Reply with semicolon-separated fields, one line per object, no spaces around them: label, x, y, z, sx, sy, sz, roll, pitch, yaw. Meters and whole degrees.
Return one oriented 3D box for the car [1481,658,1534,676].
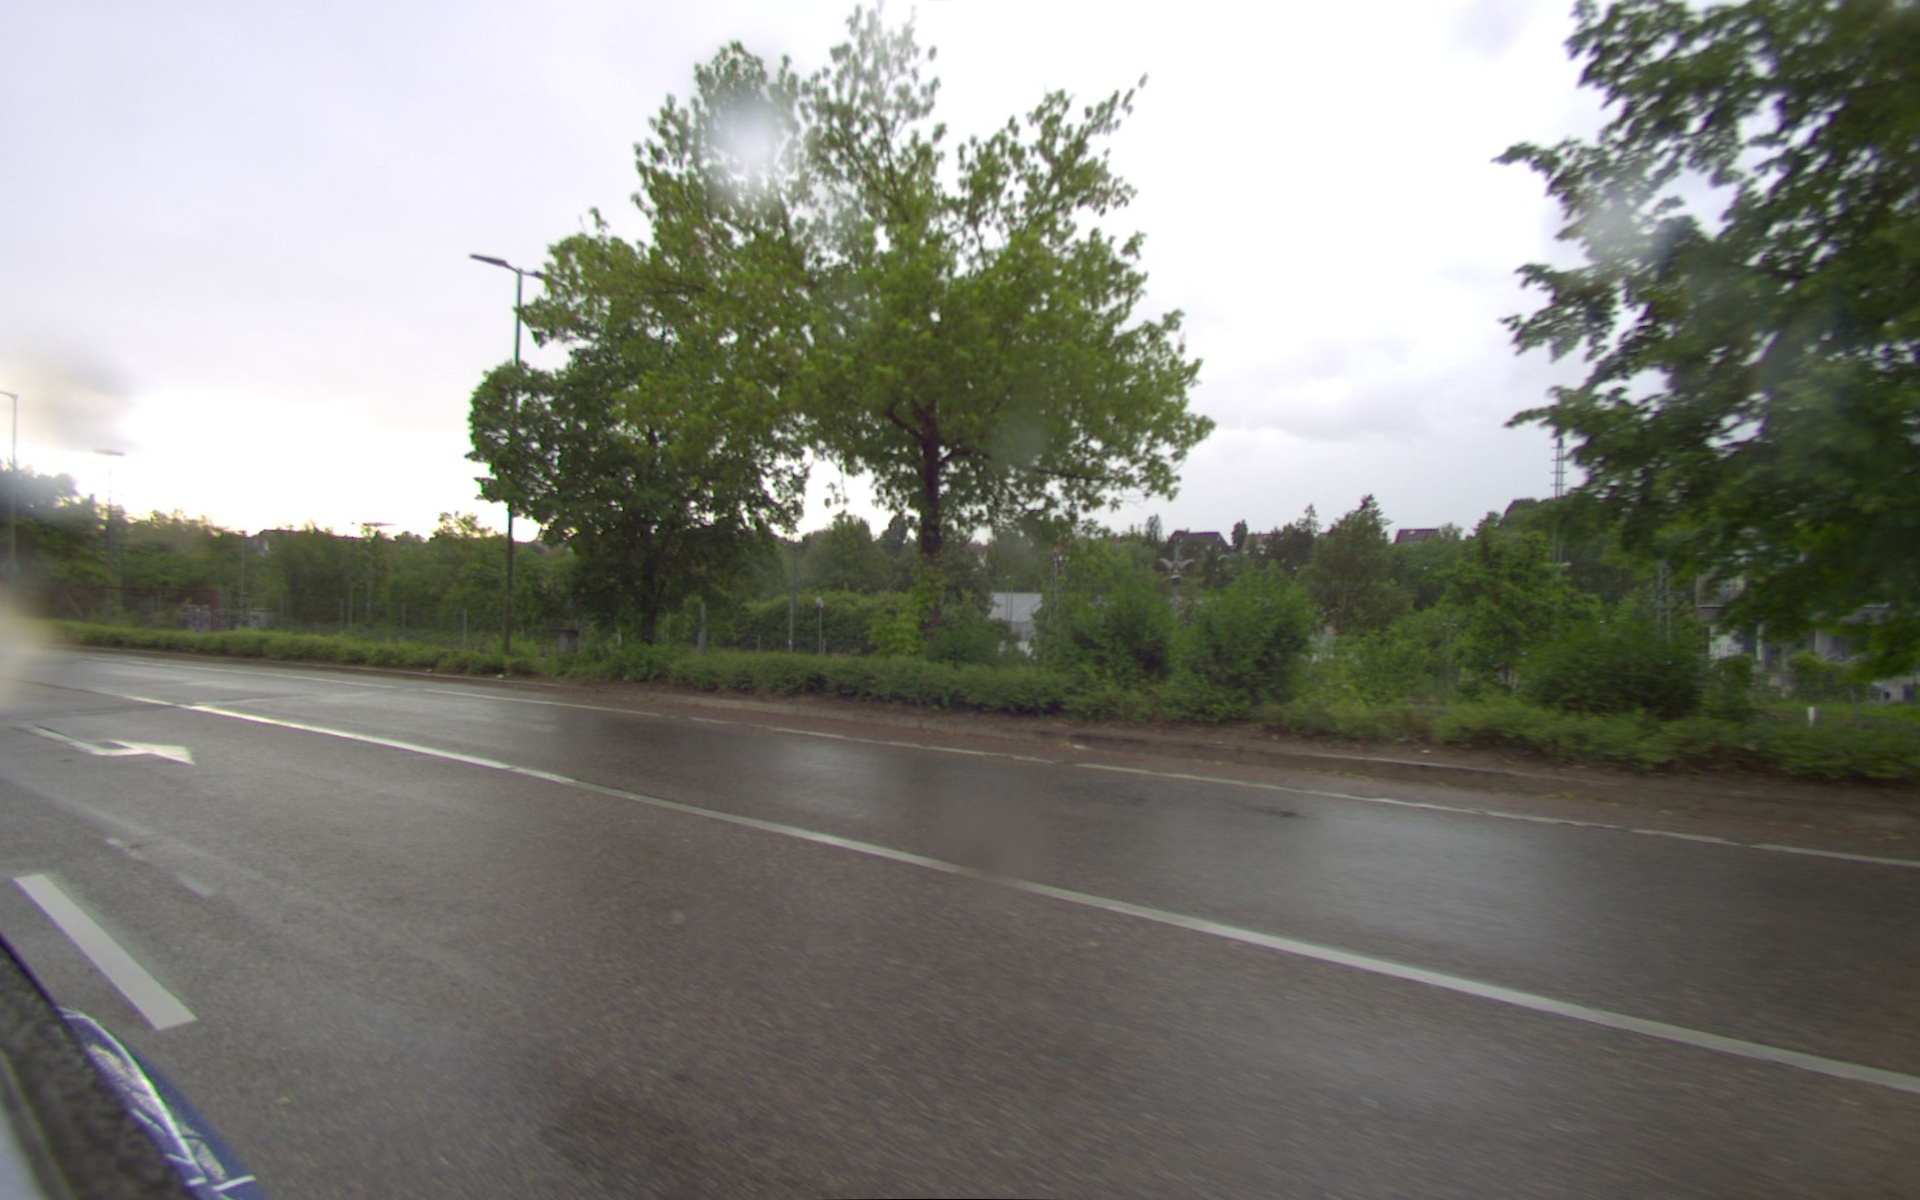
car;48.859;5.980;90.366;3.993;1.420;1.778;0;-3;37
